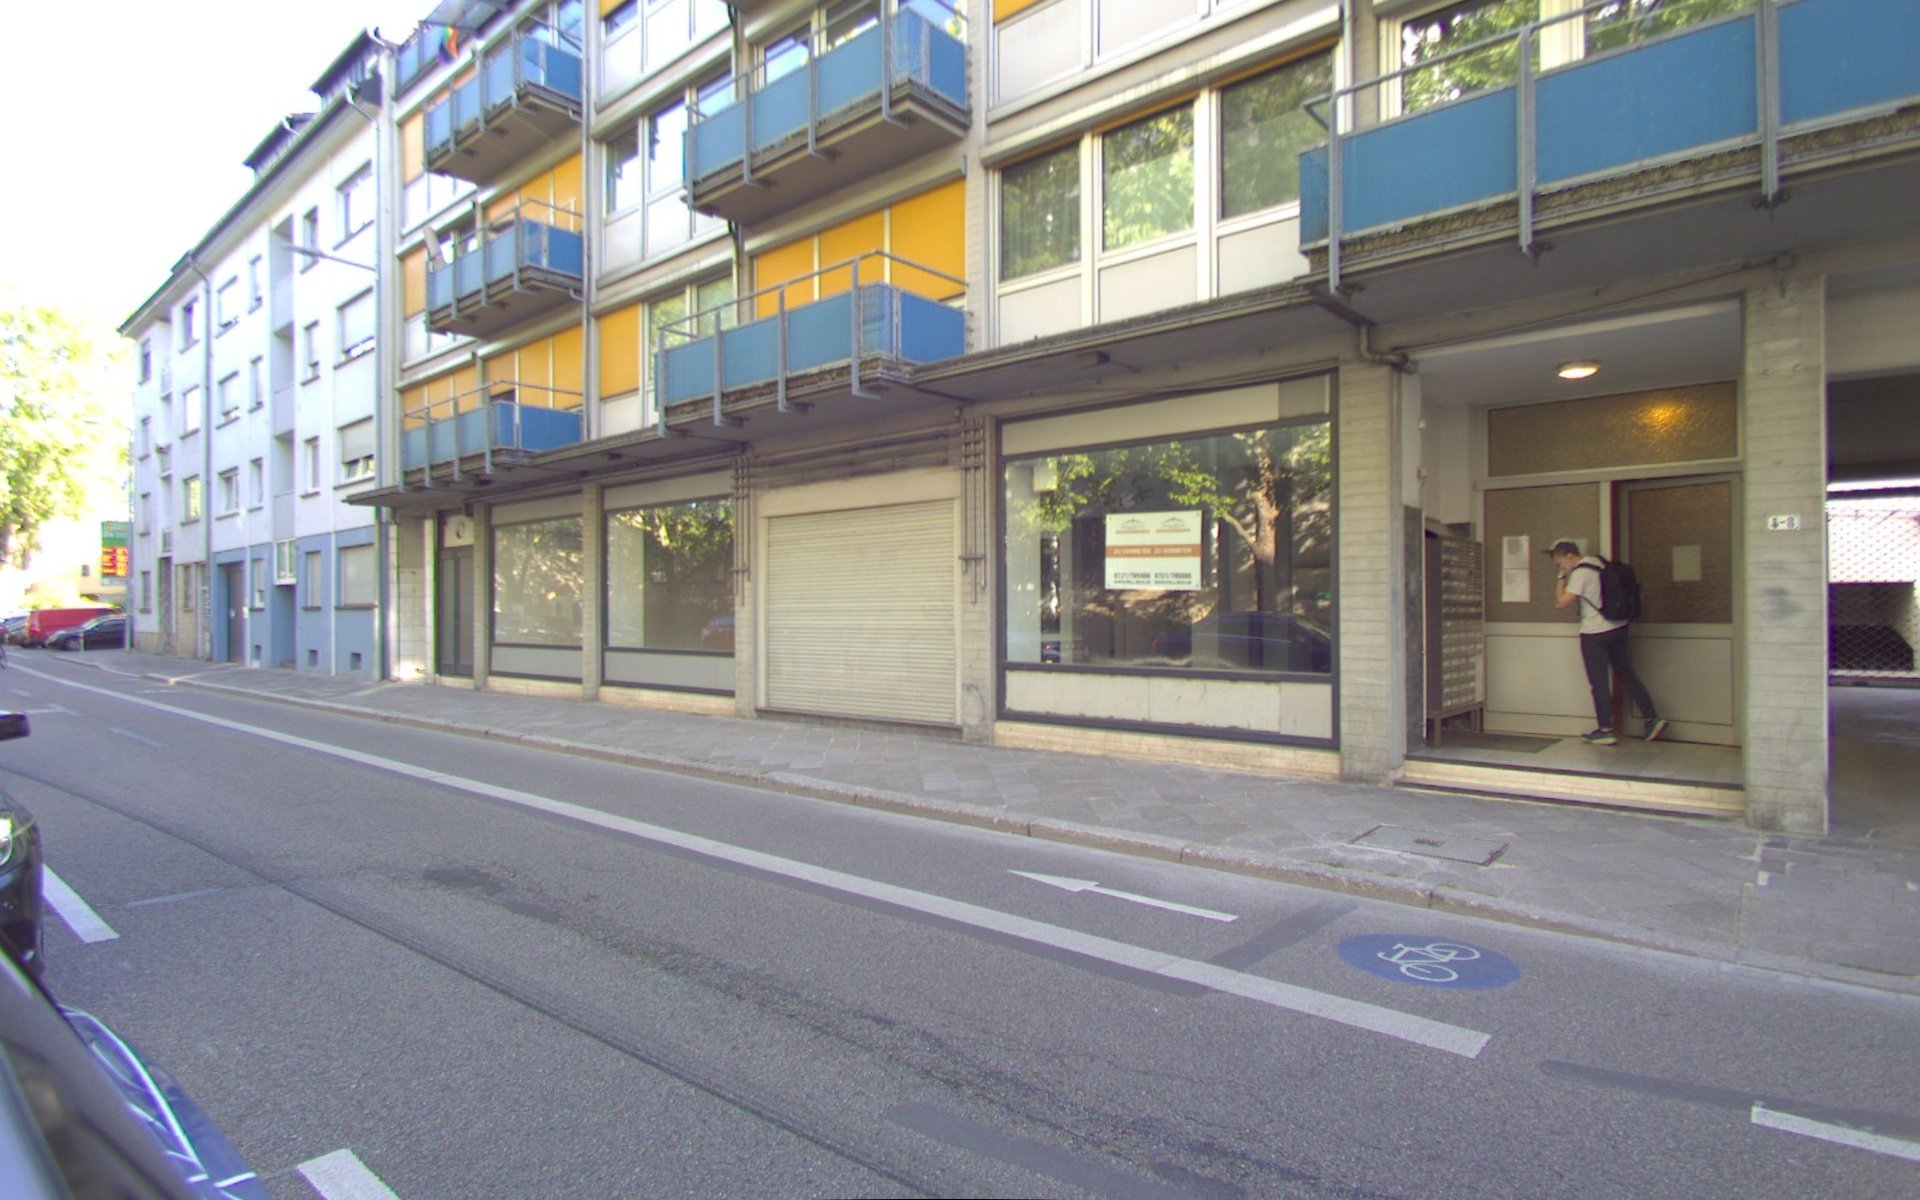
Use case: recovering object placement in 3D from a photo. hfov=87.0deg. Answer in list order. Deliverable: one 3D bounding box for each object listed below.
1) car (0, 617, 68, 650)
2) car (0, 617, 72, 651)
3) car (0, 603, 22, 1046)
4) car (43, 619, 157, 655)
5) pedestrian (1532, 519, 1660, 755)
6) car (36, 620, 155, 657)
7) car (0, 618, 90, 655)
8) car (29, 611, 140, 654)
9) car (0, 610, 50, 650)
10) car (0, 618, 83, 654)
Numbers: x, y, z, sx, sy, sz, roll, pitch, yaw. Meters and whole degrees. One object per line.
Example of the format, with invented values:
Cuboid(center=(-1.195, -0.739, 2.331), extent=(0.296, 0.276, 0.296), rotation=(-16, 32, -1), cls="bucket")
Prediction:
Cuboid(center=(-59.217, 2.117, 64.021), extent=(2.000, 1.962, 3.944), rotation=(-1, 0, 42), cls="car")
Cuboid(center=(-57.417, 2.094, 62.288), extent=(2.000, 1.962, 3.944), rotation=(-1, 0, 42), cls="car")
Cuboid(center=(-5.531, 0.808, 4.286), extent=(4.479, 1.512, 1.842), rotation=(-1, -1, 41), cls="car")
Cuboid(center=(-41.185, 1.749, 48.532), extent=(2.000, 1.564, 3.944), rotation=(-1, 0, 42), cls="car")
Cuboid(center=(5.396, 0.296, 8.597), extent=(0.573, 1.894, 0.787), rotation=(-1, 0, -44), cls="pedestrian")
Cuboid(center=(-39.766, 1.730, 46.611), extent=(2.000, 1.564, 3.944), rotation=(-1, 0, 42), cls="car")
Cuboid(center=(-51.580, 2.017, 56.835), extent=(2.000, 1.962, 3.944), rotation=(-1, 0, 42), cls="car")
Cuboid(center=(-43.440, 1.579, 50.257), extent=(2.000, 1.962, 3.944), rotation=(-1, 0, 42), cls="car")
Cuboid(center=(-62.809, 1.965, 66.790), extent=(2.000, 2.538, 3.944), rotation=(-1, 0, 42), cls="car")
Cuboid(center=(-53.530, 2.043, 58.618), extent=(2.000, 1.962, 3.944), rotation=(-1, 0, 42), cls="car")
